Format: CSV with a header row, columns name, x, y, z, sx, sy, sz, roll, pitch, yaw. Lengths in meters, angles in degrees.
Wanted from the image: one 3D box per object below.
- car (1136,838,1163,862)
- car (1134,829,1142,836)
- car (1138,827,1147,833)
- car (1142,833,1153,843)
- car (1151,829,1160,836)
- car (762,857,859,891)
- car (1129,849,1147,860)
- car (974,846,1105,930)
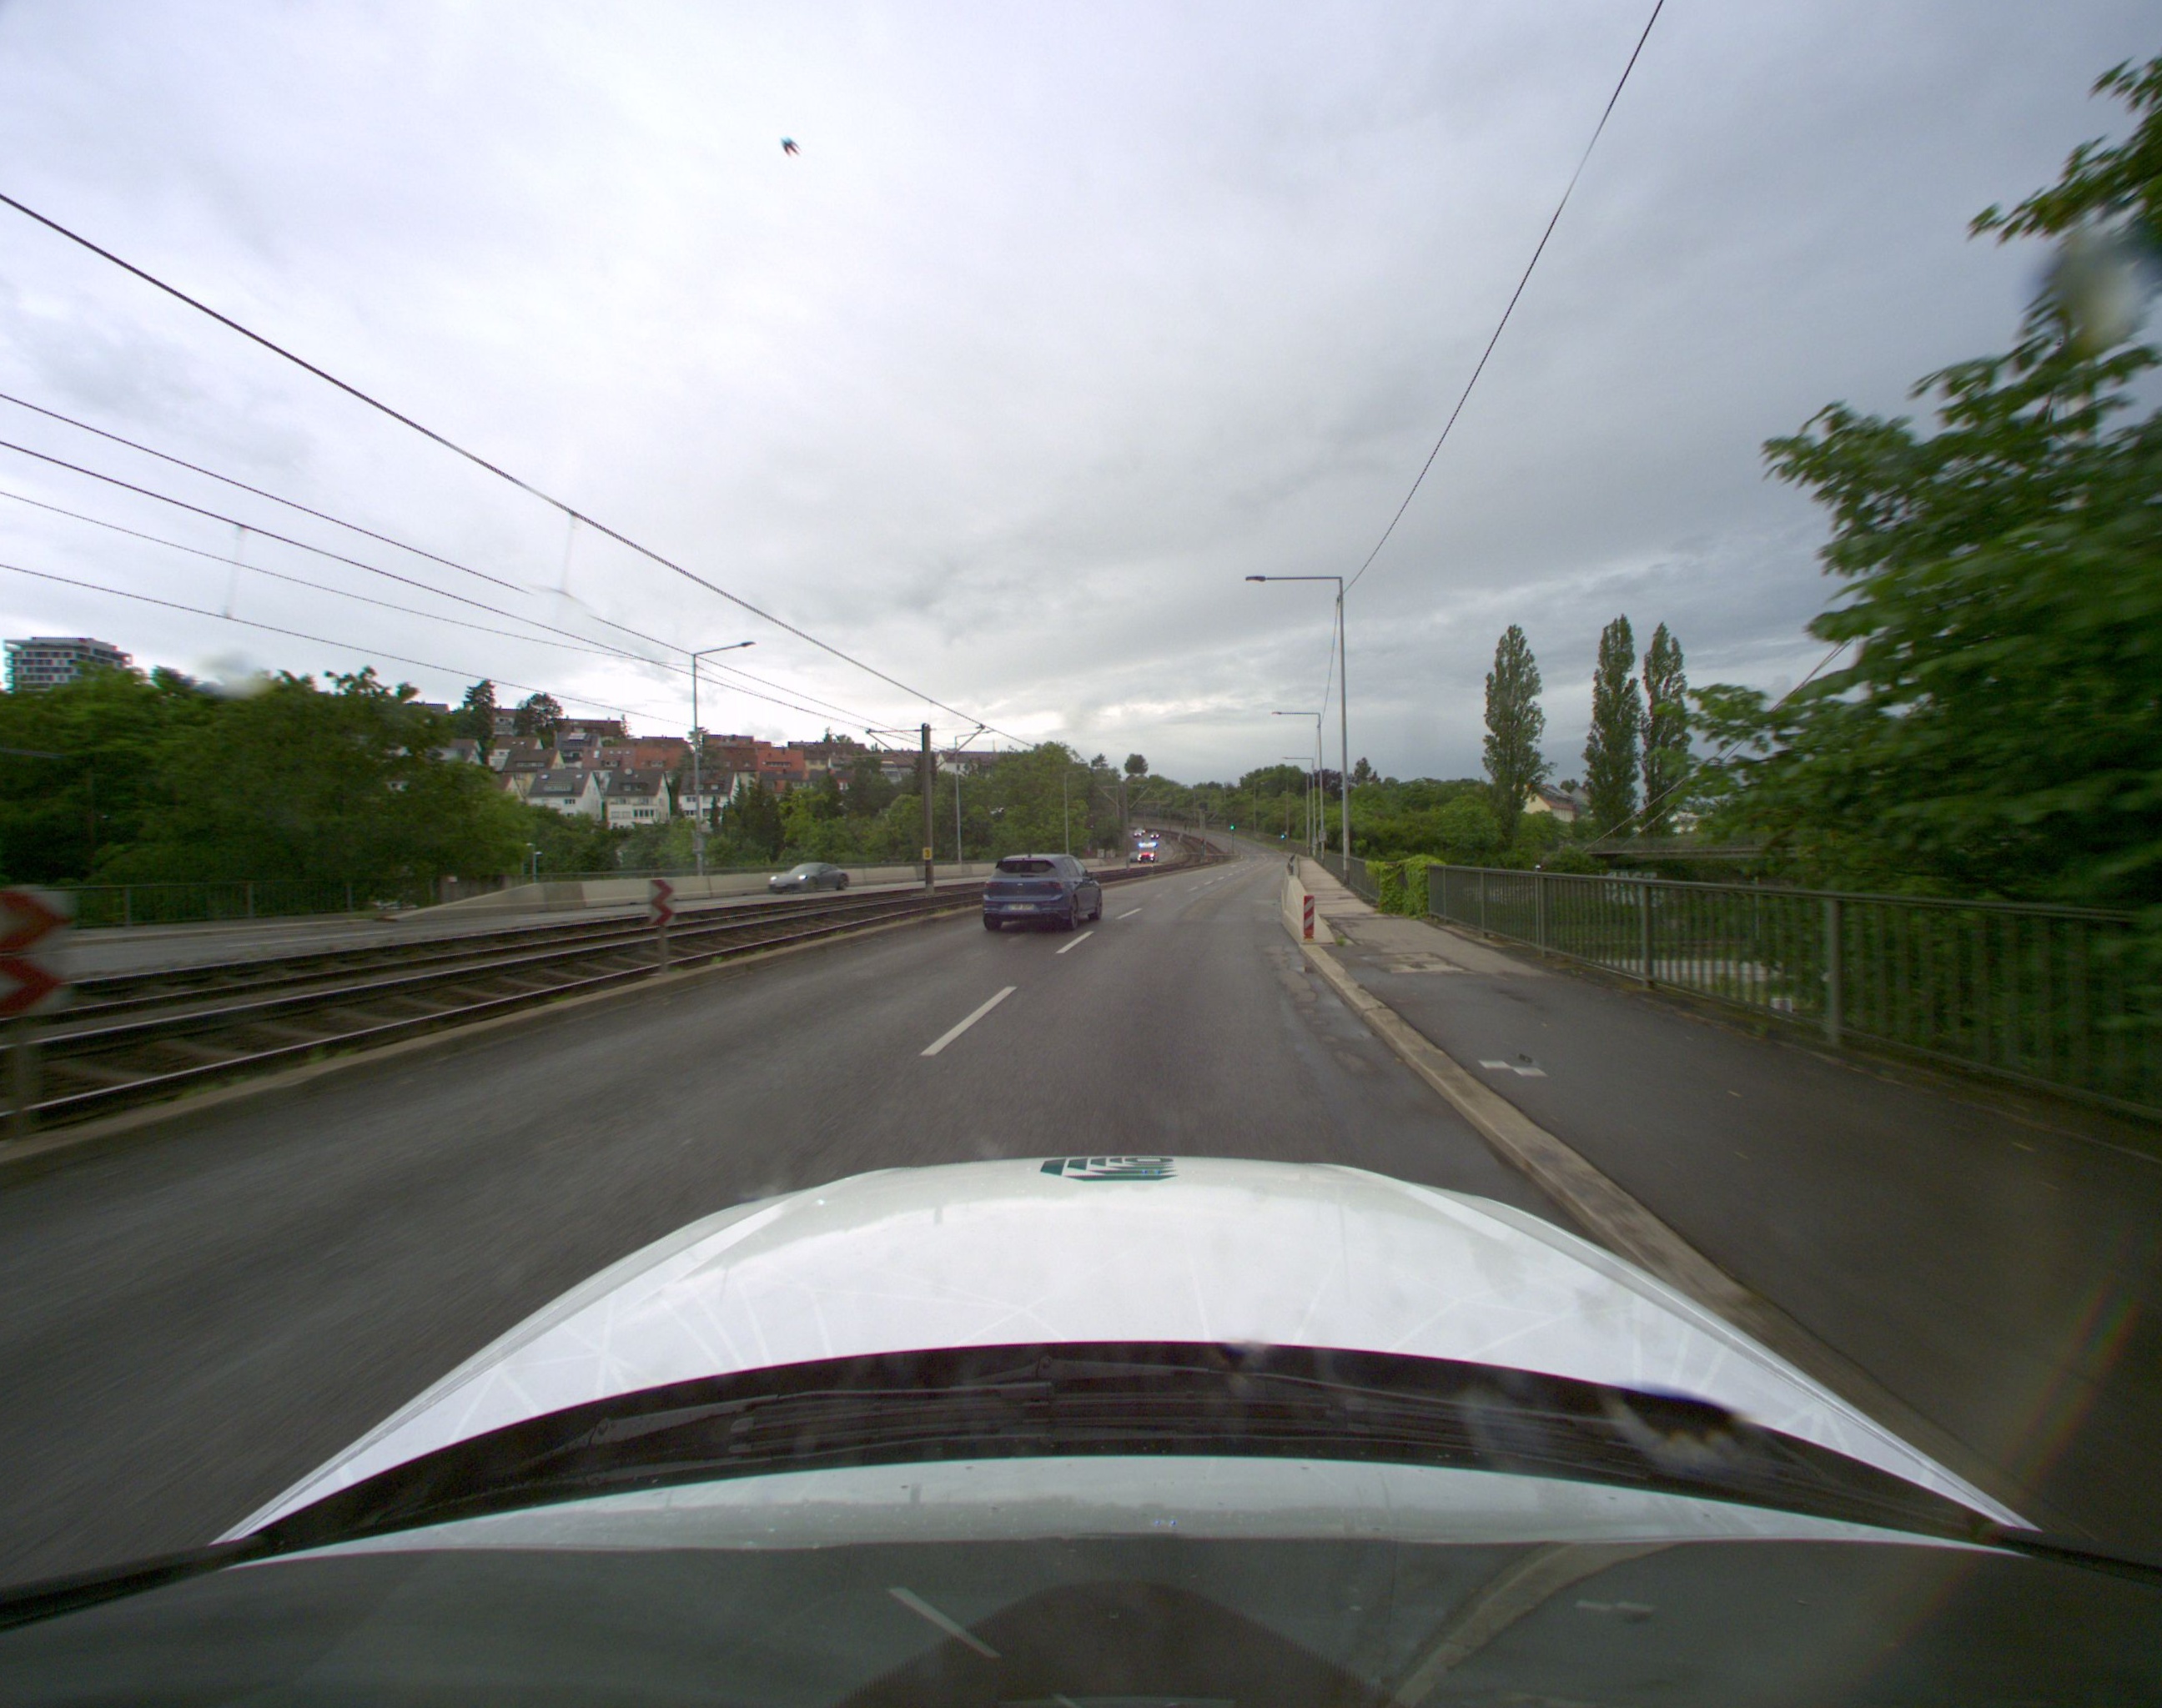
name,x,y,z,sx,sy,sz,roll,pitch,yaw
car,9.041,-0.530,107.070,2.372,3.115,6.382,-1,0,15
car,13.307,-5.123,191.616,1.813,1.515,4.534,-1,0,4
car,15.385,-6.033,204.783,1.725,1.437,4.488,-2,-1,-2
car,12.926,-3.102,158.399,1.961,1.597,5.188,-2,-1,3
car,16.519,-4.703,180.897,1.595,1.493,3.018,-3,1,1
car,-11.947,0.854,36.386,1.823,1.314,4.637,-2,-1,15
car,8.135,0.108,116.045,1.804,1.436,4.756,-1,1,11
car,-0.709,0.608,16.768,1.752,1.501,4.012,0,0,11
